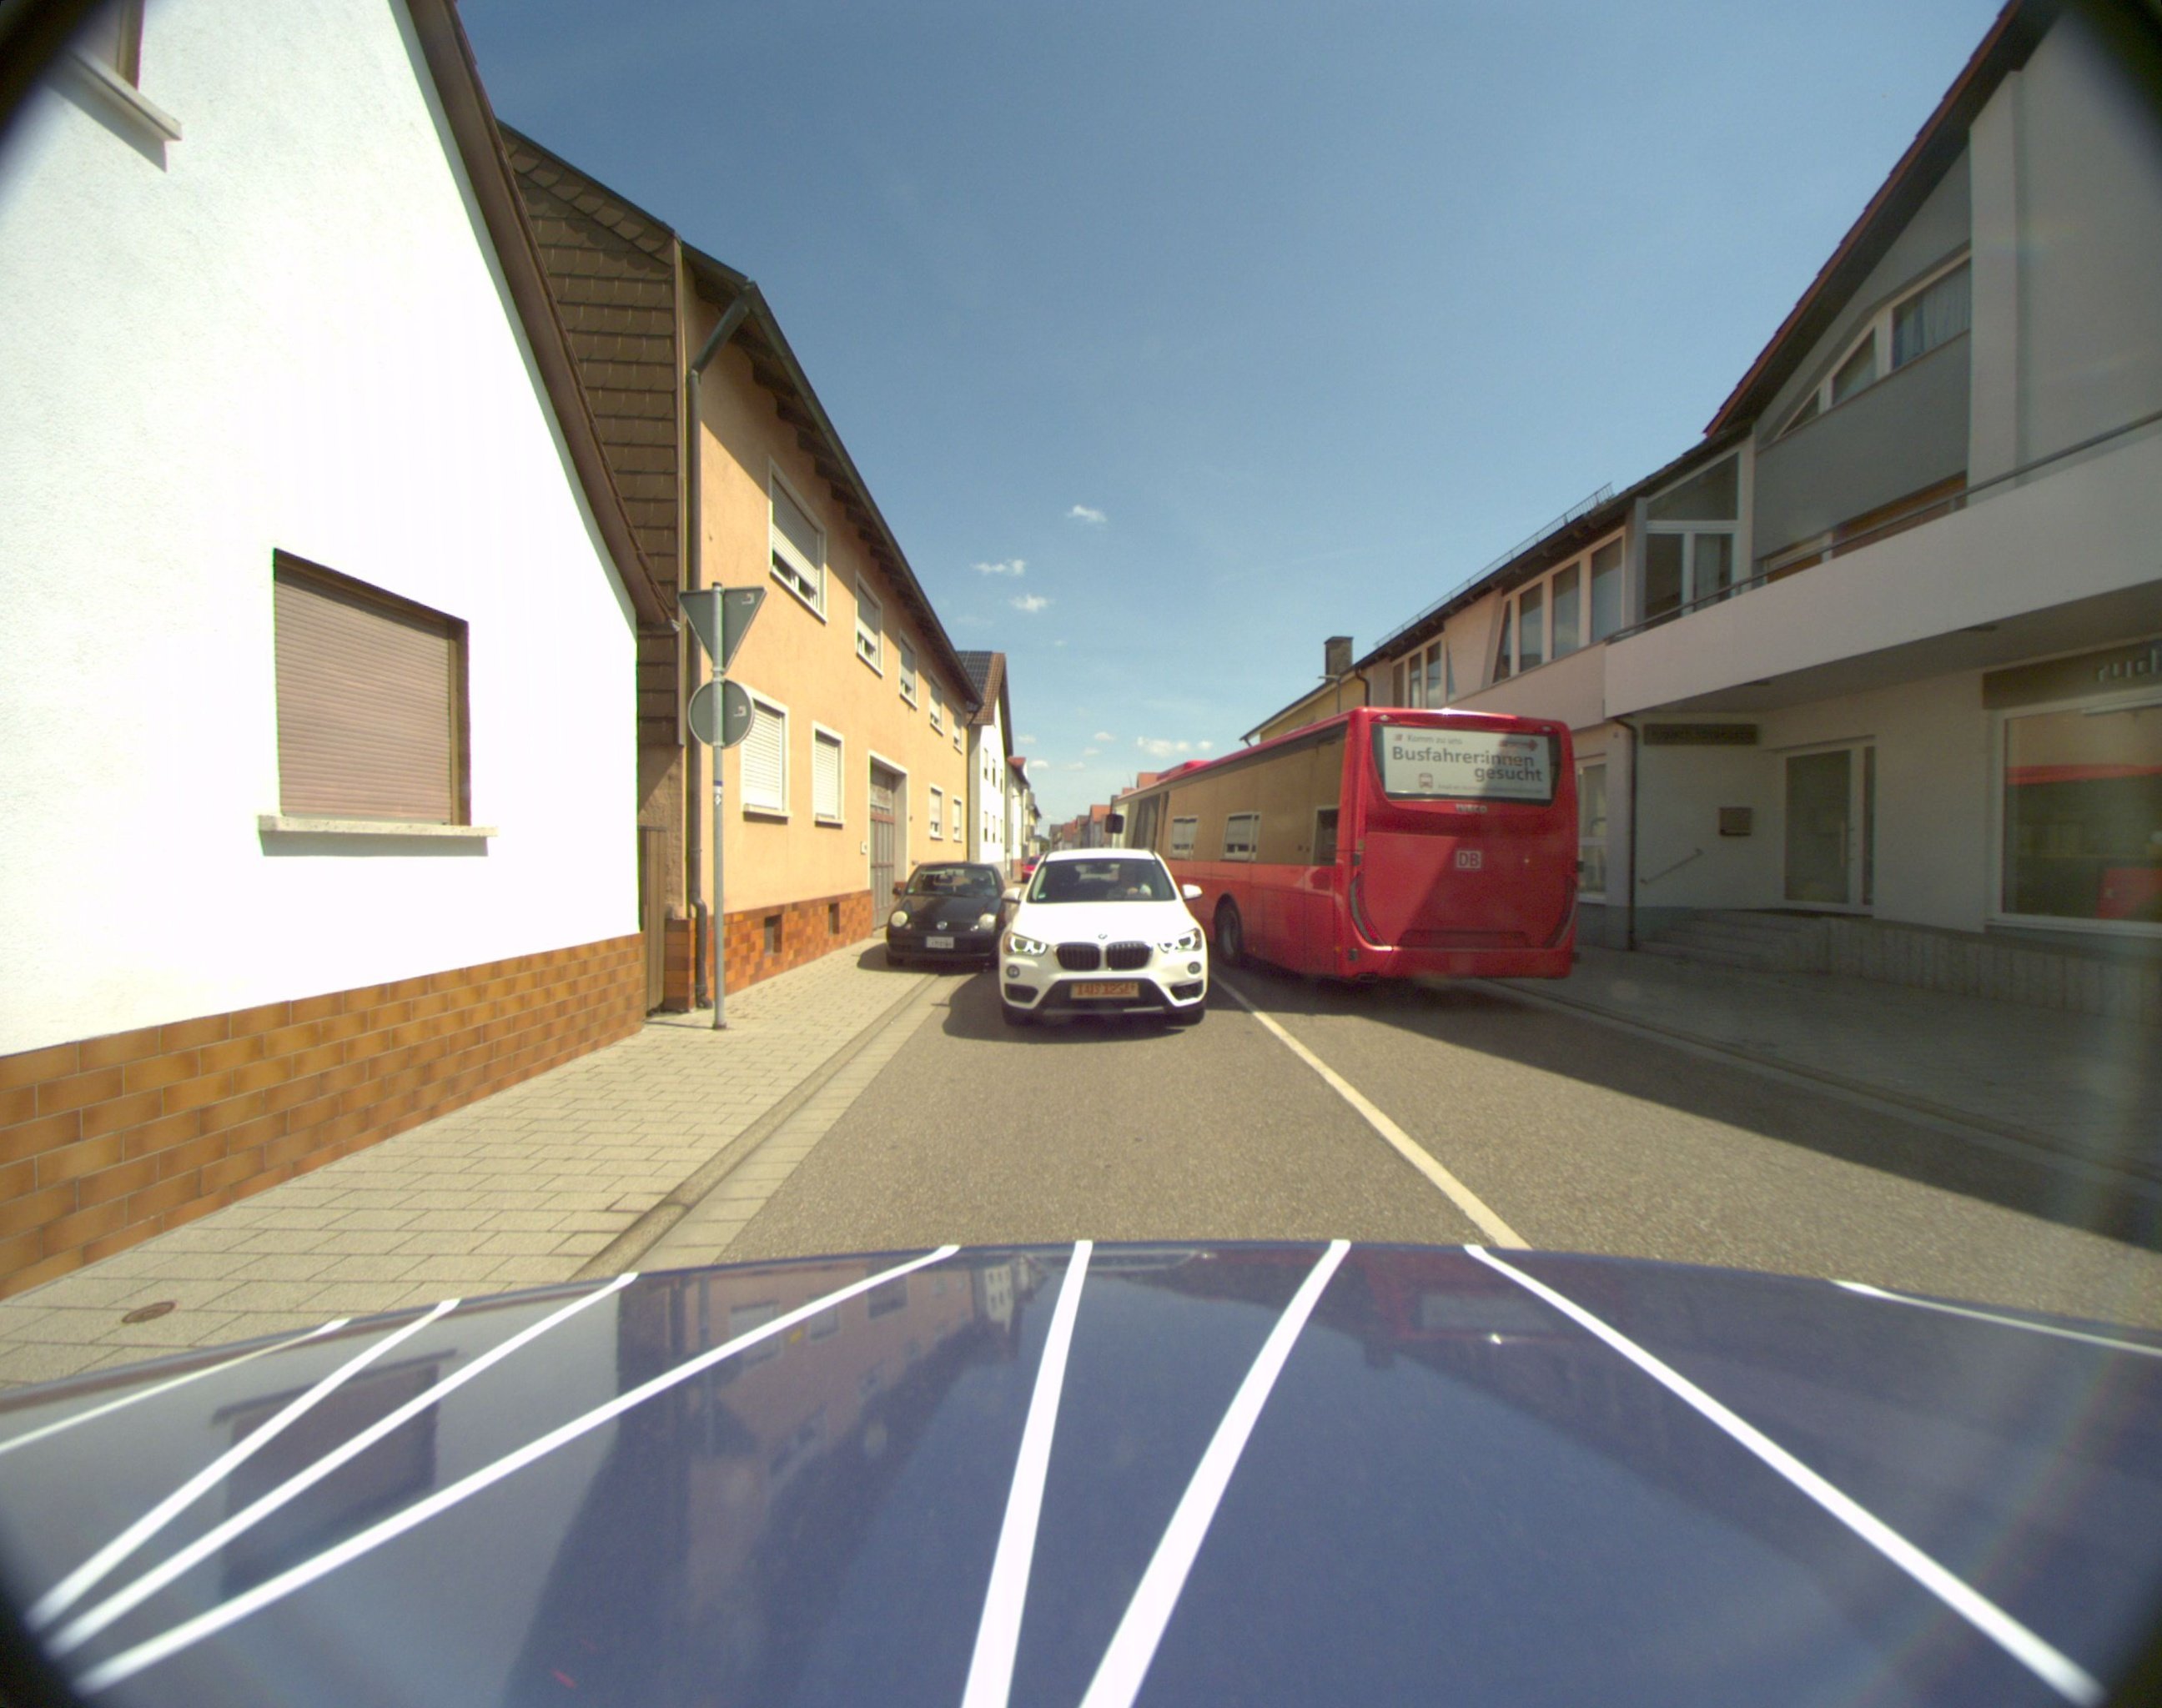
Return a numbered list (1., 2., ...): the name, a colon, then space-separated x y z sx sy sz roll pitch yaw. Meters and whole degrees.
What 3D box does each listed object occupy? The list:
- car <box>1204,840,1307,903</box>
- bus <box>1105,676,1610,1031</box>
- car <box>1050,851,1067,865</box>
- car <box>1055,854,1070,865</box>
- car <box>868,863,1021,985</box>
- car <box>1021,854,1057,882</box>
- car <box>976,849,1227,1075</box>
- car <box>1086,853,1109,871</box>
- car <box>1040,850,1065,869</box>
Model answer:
1. car: 4.826 0.424 21.543 1.748 1.507 3.998 -4 1 -3
2. bus: 2.825 -0.016 13.014 2.635 3.213 12.012 2 0 -8
3. car: -2.342 0.435 80.937 1.765 1.420 4.188 0 0 -1
4. car: -2.462 0.671 99.533 1.765 1.420 4.187 0 0 -4
5. car: -1.866 0.913 11.420 1.690 1.454 3.628 2 0 -1
6. car: -2.167 0.723 40.388 1.765 1.420 4.188 0 0 -1
7. car: 0.136 0.815 7.925 1.845 1.636 4.374 -2 0 -1
8. car: 1.316 0.668 62.756 1.765 1.389 3.869 1 0 -1
9. car: -2.121 0.403 57.493 1.765 1.420 4.188 0 0 -1
